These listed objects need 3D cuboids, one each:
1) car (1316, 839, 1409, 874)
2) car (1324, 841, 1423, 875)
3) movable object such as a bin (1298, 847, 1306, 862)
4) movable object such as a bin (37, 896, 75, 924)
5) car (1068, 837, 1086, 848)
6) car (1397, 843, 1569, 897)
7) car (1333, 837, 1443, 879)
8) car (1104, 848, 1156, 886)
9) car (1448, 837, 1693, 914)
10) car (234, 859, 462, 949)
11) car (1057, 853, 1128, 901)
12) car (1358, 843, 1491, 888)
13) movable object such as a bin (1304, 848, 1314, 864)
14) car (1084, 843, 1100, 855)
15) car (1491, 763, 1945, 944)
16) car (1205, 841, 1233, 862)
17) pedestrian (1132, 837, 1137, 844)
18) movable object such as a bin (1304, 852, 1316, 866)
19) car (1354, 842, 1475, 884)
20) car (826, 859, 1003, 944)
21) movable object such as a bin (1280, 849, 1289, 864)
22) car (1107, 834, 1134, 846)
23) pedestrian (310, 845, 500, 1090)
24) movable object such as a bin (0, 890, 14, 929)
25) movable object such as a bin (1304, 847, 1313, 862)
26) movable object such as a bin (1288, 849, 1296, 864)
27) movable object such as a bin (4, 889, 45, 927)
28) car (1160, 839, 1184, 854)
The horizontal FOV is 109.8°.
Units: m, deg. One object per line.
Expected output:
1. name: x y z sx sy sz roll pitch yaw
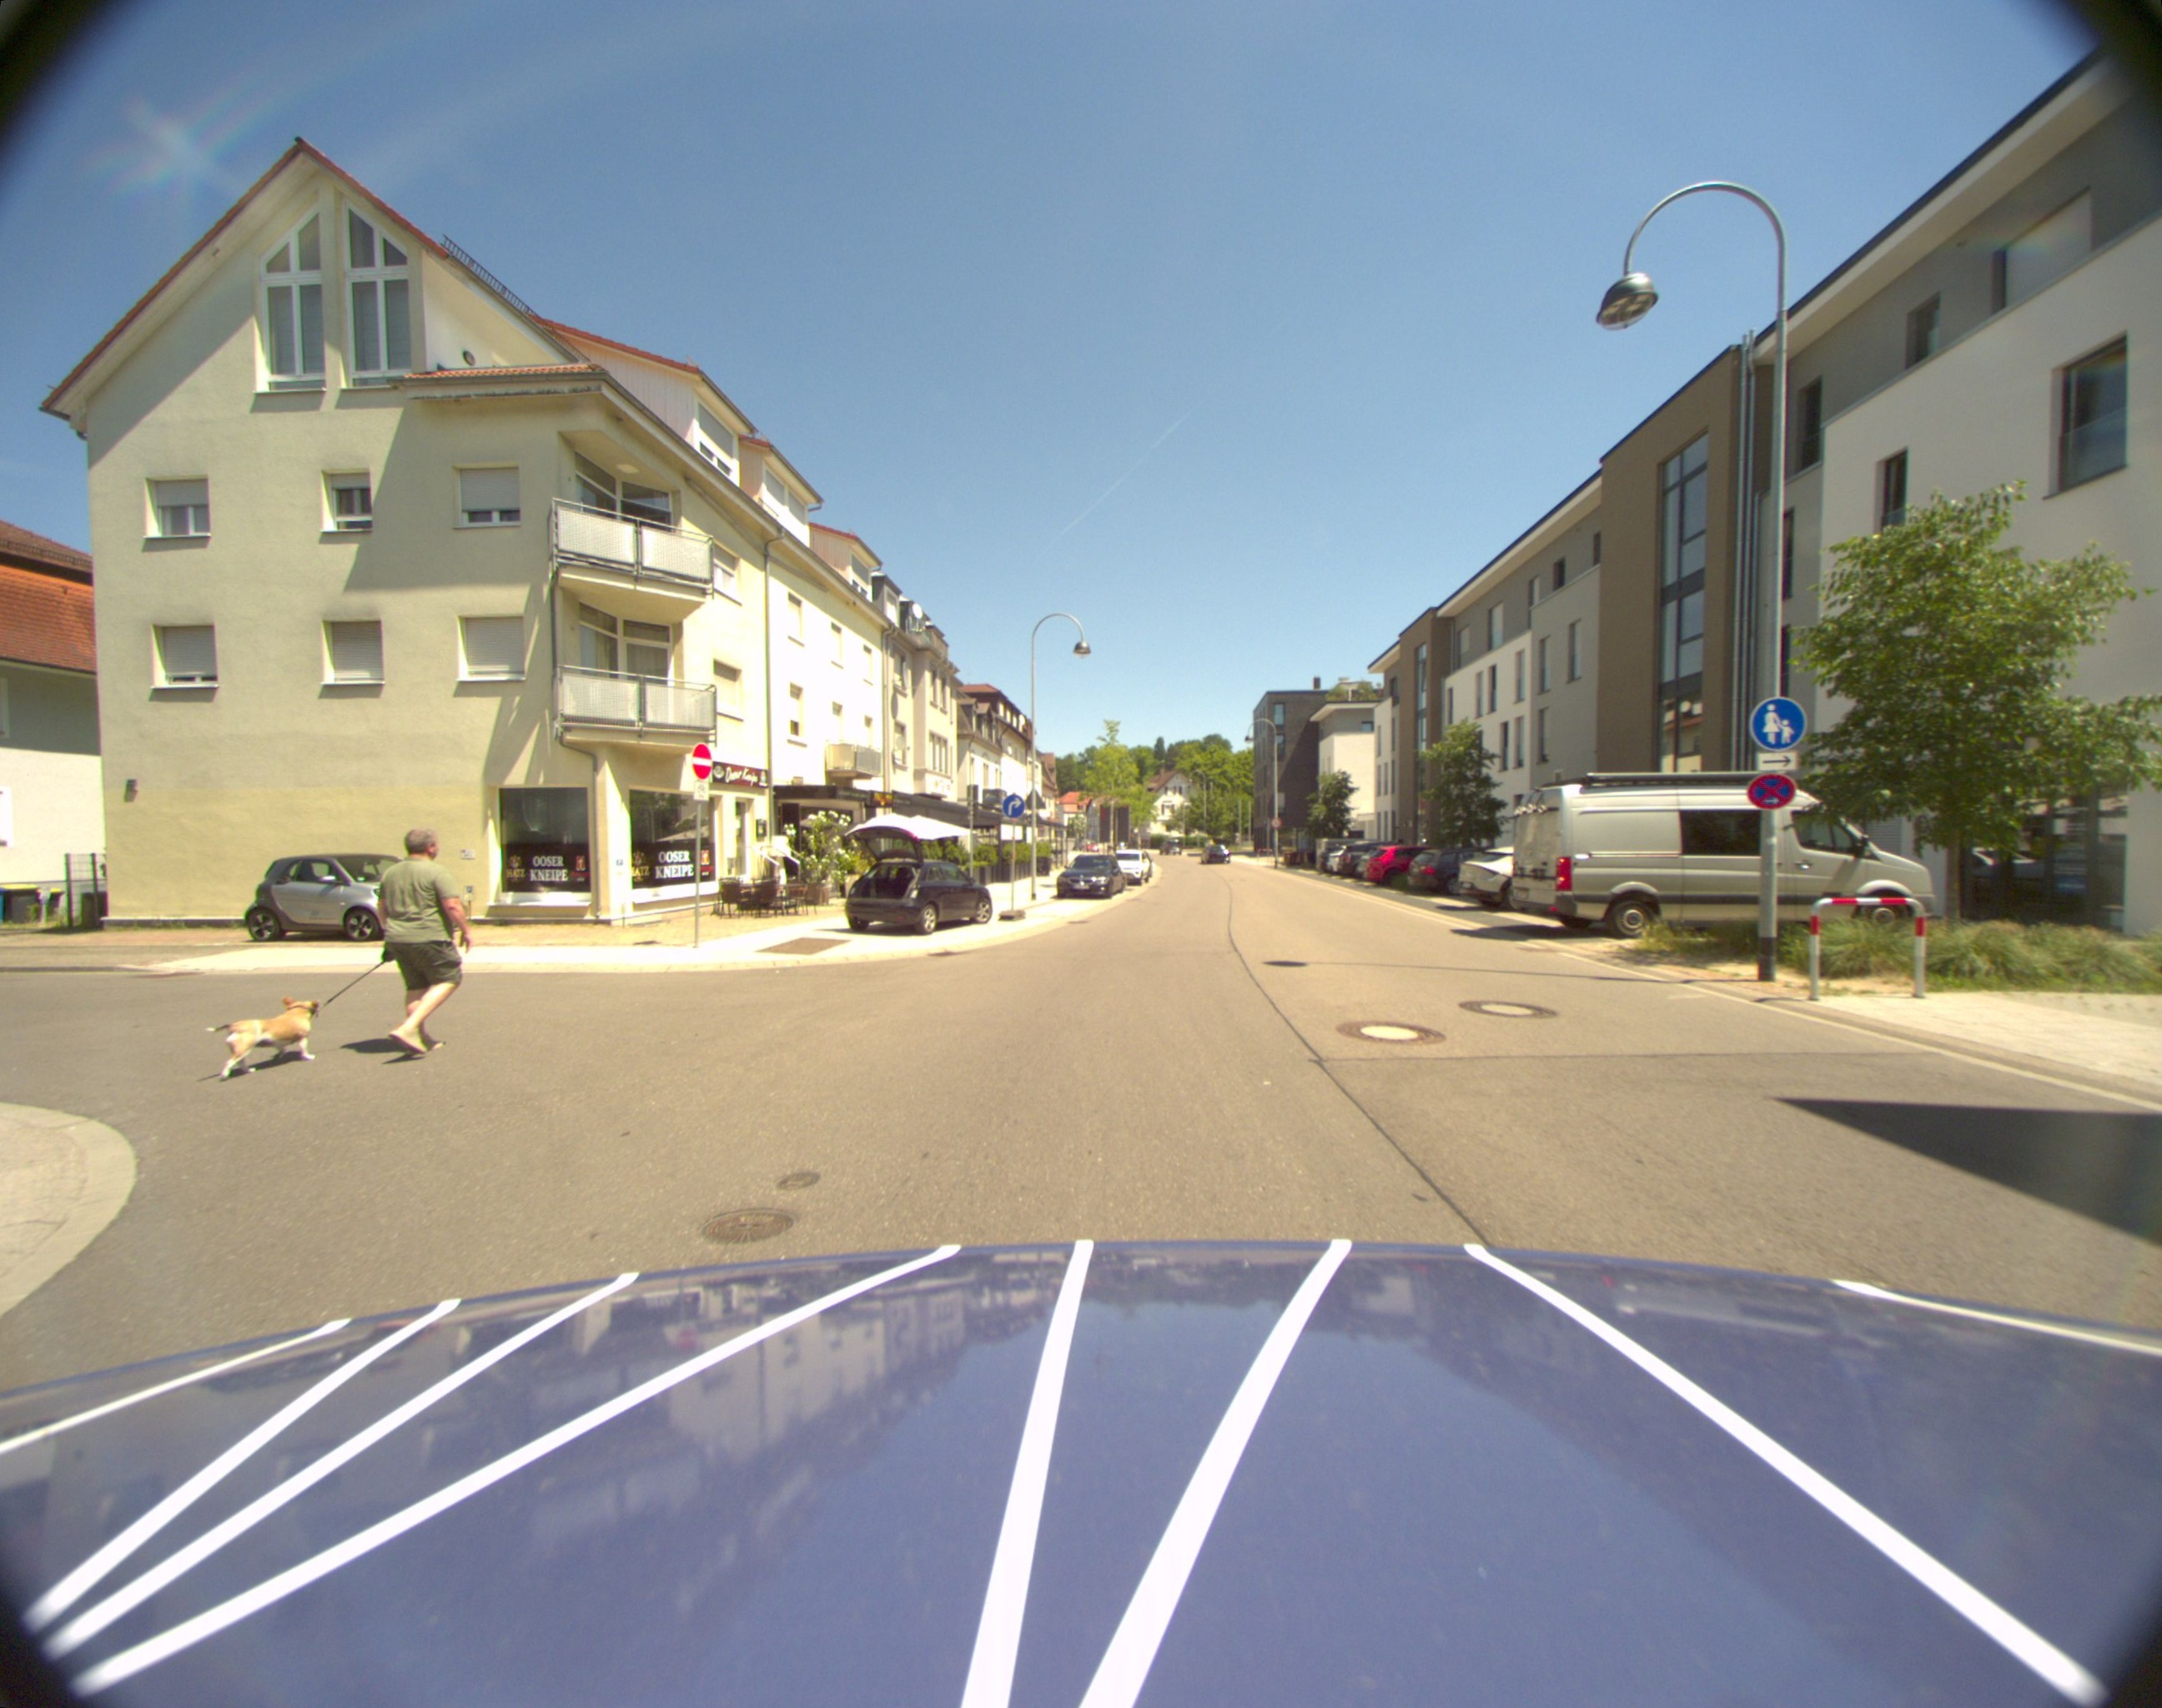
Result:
1. car: 13.952 0.106 37.911 3.994 1.507 2.000 -2 2 8
2. car: 13.678 0.186 35.728 3.995 1.413 1.910 -2 2 7
3. movable object such as a bin: 14.669 0.024 50.535 0.404 0.992 0.556 -1 2 5
4. movable object such as a bin: -28.675 1.564 21.255 0.462 0.769 0.456 0 0 3
5. car: -0.596 -1.722 111.900 1.736 1.465 4.317 1 1 -13
6. car: 12.161 0.457 23.193 4.209 1.429 1.886 -2 2 2
7. car: 13.267 0.159 33.065 4.040 1.642 2.001 -2 2 9
8. car: 2.250 0.523 33.910 1.740 1.478 4.057 2 2 12
9. car: 11.435 0.476 18.062 4.462 1.582 2.000 -2 2 6
10. car: -13.257 0.880 13.841 2.733 1.463 1.531 -1 2 6
11. car: 0.492 0.734 26.634 1.727 1.397 4.612 1 1 10
12. car: 12.507 0.397 27.880 4.040 1.422 2.001 -2 2 9
13. movable object such as a bin: 14.244 0.113 47.527 0.555 0.992 0.427 -1 2 8
14. car: 1.418 -0.694 98.251 1.684 1.505 3.384 -1 1 -6
15. car: 10.761 0.003 13.361 5.778 2.717 2.292 -2 2 7
16. car: 10.796 -0.209 59.731 1.897 1.545 4.800 -2 1 7
17. pedestrian: 8.555 -2.178 121.477 0.598 1.053 0.566 -2 2 -14
18. movable object such as a bin: 14.149 0.288 46.971 0.556 0.863 0.481 -1 2 -11
19. car: 13.234 0.336 30.412 4.040 1.488 2.001 -2 2 9
20. car: -3.304 0.869 15.873 1.874 1.483 3.867 1 1 19
21. movable object such as a bin: 13.541 0.165 50.599 0.484 0.992 0.588 -1 2 5
22. car: 5.762 -2.081 111.061 1.951 1.649 4.224 -3 2 -32
23. pedestrian: -5.333 0.833 6.040 0.747 1.786 0.844 0 0 14
24. movable object such as a bin: -28.876 1.481 20.136 0.462 1.005 0.518 0 0 3
25. movable object such as a bin: 15.120 0.041 50.501 0.404 0.992 0.556 -1 2 5
26. movable object such as a bin: 14.056 0.156 50.598 0.404 0.992 0.556 -1 2 5
27. movable object such as a bin: -28.768 1.476 20.687 0.462 1.005 0.463 0 0 3
28. car: 10.055 -0.832 84.105 1.816 1.691 4.073 -1 1 -6
